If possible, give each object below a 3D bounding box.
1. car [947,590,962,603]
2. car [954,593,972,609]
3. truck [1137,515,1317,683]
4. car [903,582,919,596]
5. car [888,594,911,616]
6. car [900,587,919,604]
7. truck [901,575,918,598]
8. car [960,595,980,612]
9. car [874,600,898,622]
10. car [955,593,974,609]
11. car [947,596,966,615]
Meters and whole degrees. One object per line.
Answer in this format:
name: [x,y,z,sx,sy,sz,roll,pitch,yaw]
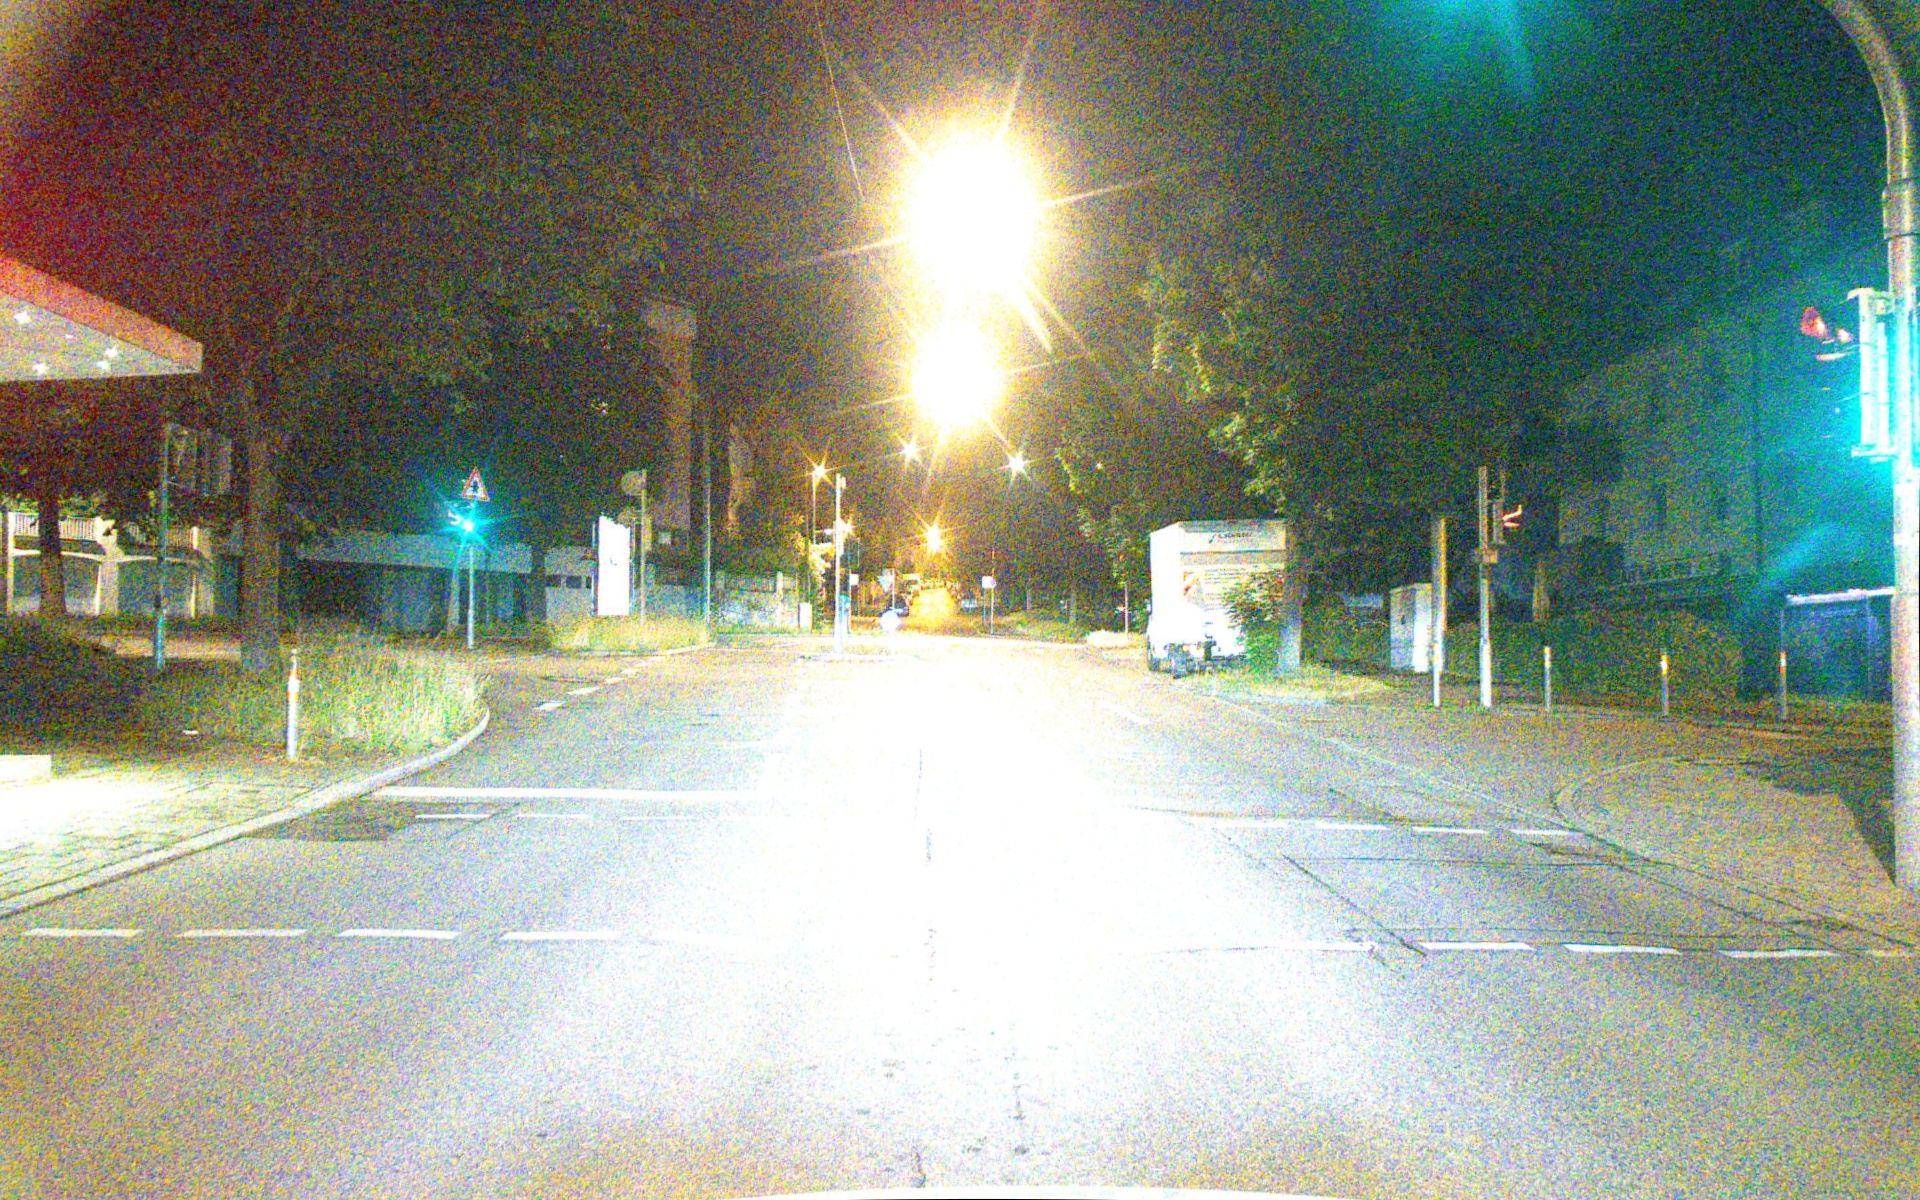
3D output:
car: [-0.660,-0.392,191.474,1.601,1.477,3.484,1,0,-1]
car: [0.258,0.106,159.274,1.601,1.477,3.484,1,0,-1]
truck: [5.428,-0.019,34.706,2.693,3.165,6.257,1,0,0]
car: [-5.535,-1.197,186.877,1.779,1.517,3.998,1,0,-2]
car: [-4.900,0.373,134.359,1.778,1.713,3.999,1,0,-1]
car: [-4.880,-0.430,160.493,1.779,1.517,3.998,1,0,-2]
truck: [-6.437,-1.698,209.502,2.044,2.897,5.828,1,0,-2]
car: [0.875,0.296,143.363,1.601,1.477,3.484,1,0,-1]
car: [-5.266,0.761,118.127,1.601,1.477,3.484,1,0,-1]
car: [0.413,0.070,153.092,1.601,1.477,3.484,1,0,-1]
car: [-0.322,0.441,138.019,1.561,1.502,3.653,1,0,-1]
